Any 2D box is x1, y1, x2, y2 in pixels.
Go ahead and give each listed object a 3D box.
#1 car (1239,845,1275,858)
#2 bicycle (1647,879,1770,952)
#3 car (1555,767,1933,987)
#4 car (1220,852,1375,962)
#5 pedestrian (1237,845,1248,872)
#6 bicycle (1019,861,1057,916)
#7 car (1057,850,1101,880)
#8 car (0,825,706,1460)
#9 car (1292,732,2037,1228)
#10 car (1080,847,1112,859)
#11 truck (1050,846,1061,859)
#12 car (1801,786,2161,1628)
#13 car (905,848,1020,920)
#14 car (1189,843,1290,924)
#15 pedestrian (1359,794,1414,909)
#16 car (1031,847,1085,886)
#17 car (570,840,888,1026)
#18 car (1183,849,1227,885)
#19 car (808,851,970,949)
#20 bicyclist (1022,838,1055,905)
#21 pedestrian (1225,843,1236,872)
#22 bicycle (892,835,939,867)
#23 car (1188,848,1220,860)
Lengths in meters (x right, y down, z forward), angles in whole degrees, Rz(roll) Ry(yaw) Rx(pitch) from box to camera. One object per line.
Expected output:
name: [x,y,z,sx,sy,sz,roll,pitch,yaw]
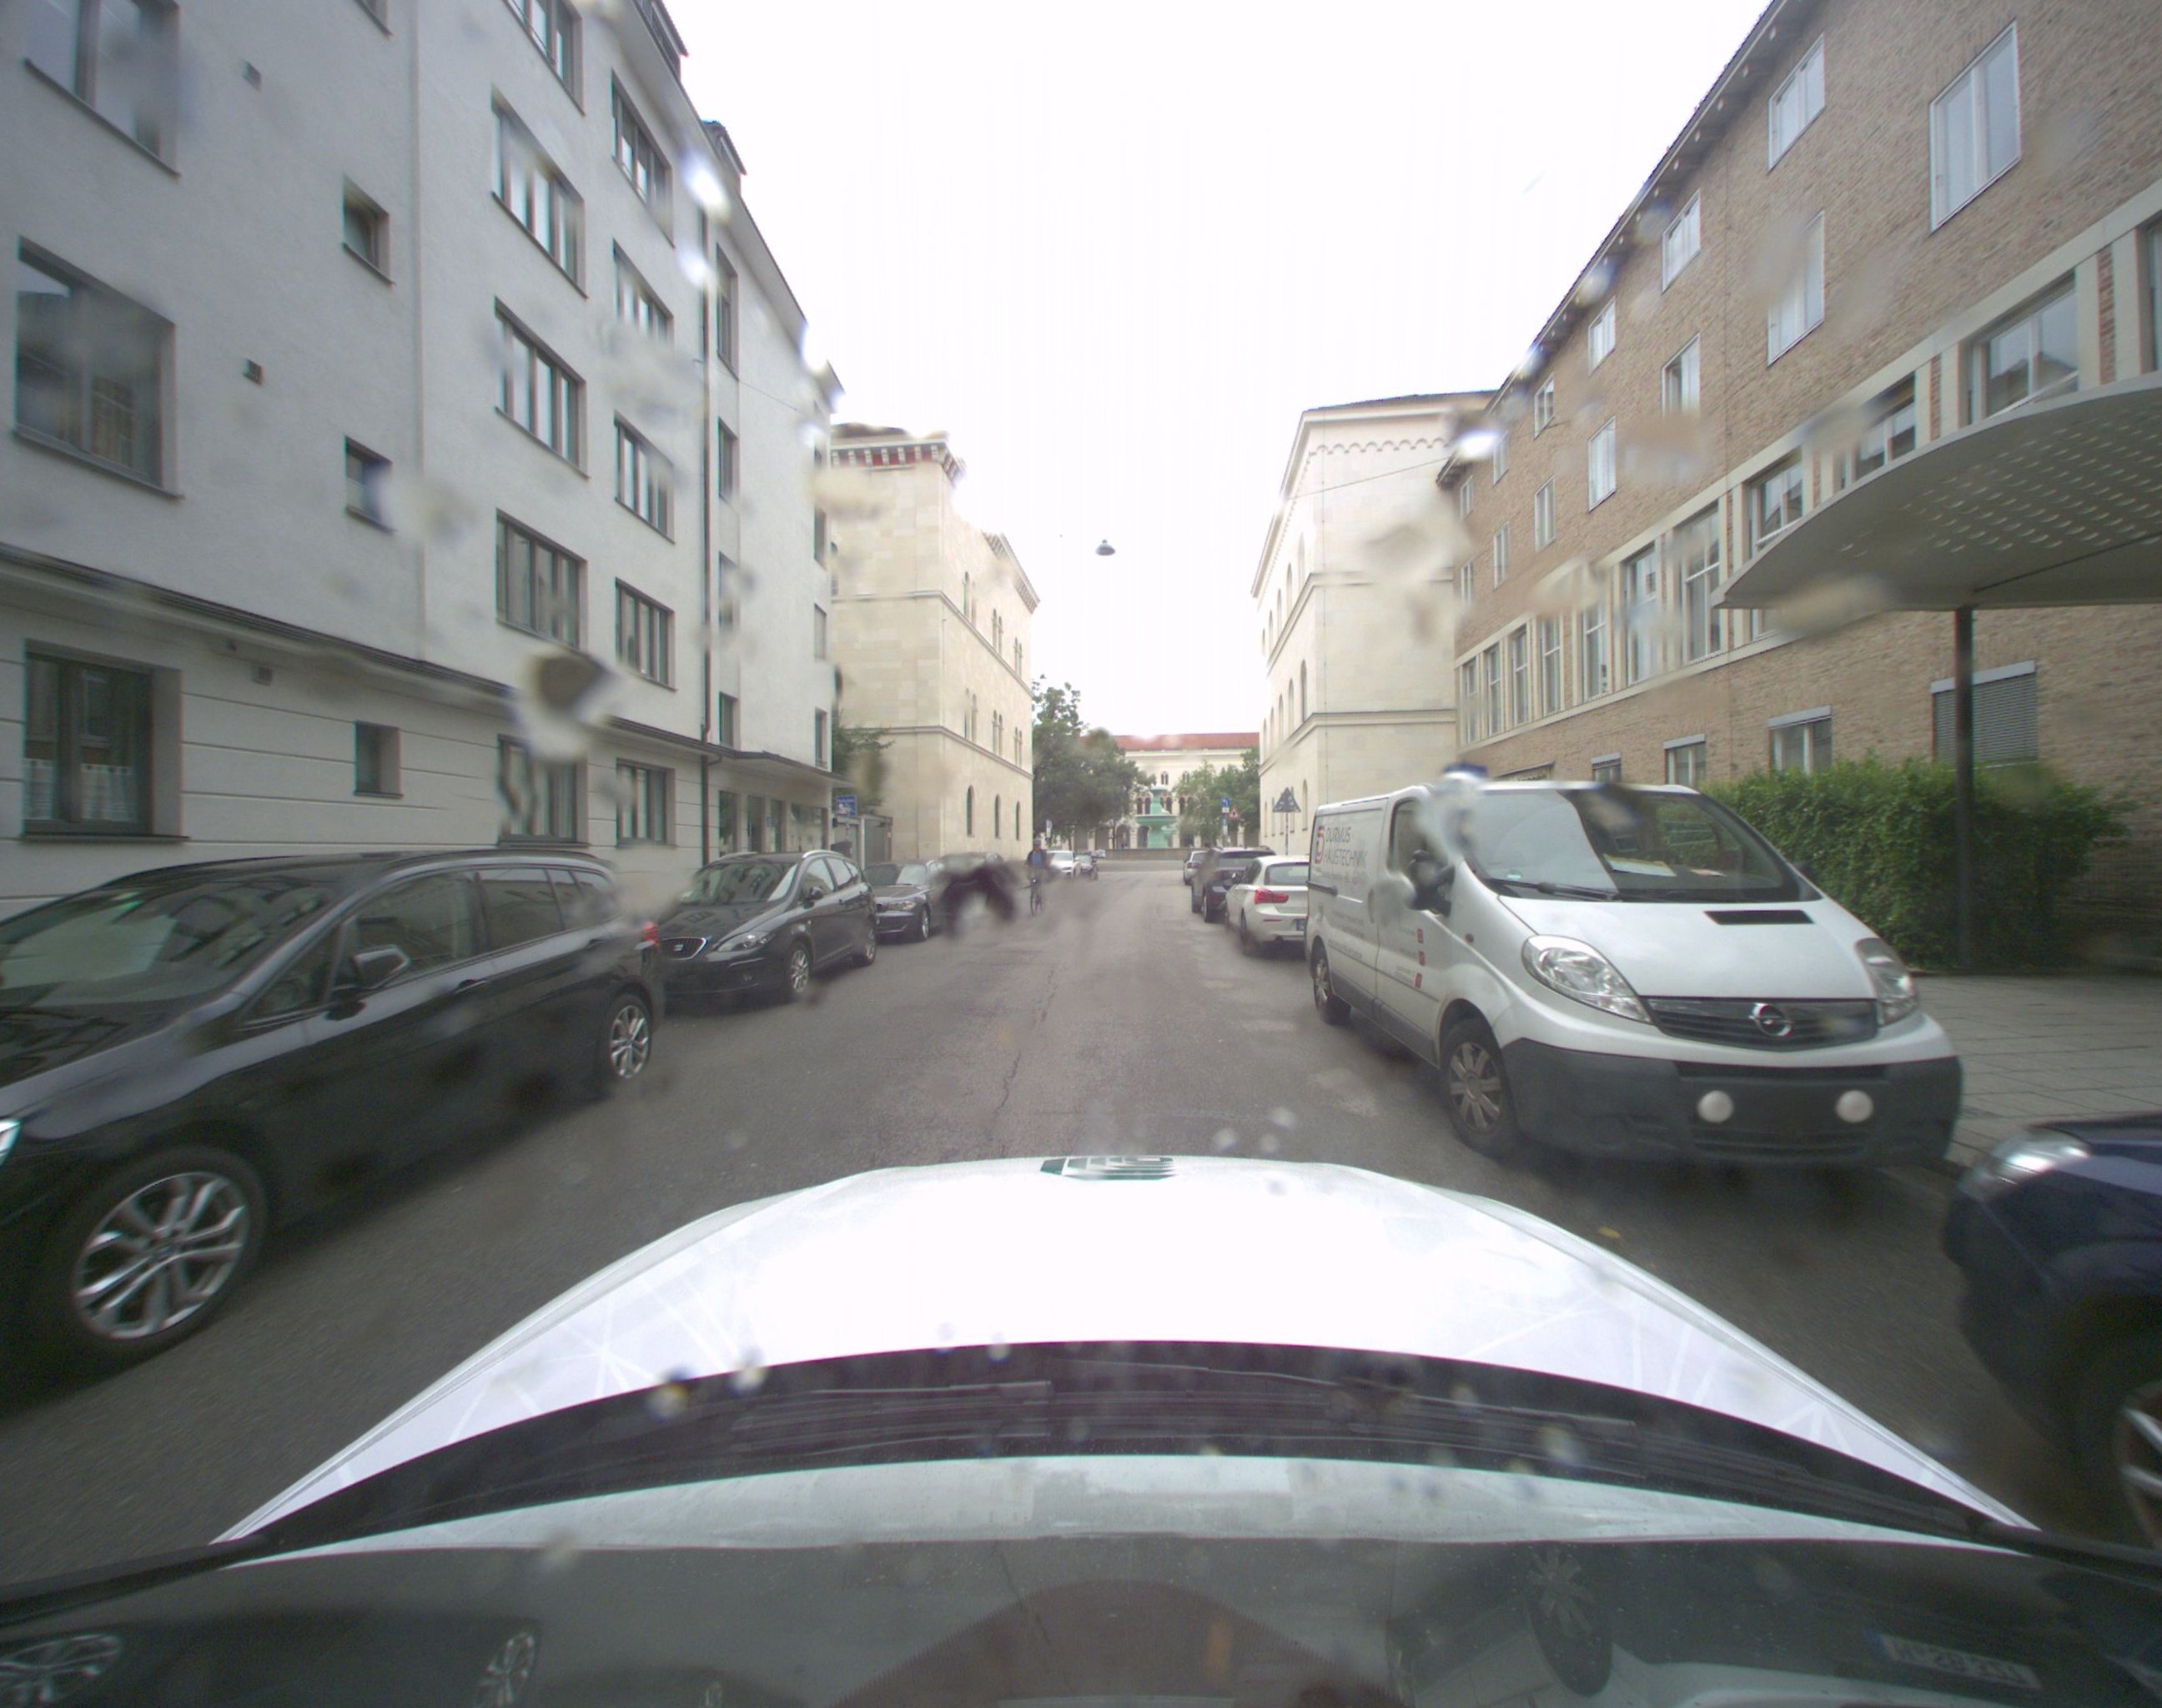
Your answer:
car: [22.075,-0.332,102.171,4.333,1.524,1.808,-1,0,7]
bicycle: [8.136,0.770,10.628,0.514,0.817,1.434,-1,1,1]
car: [7.020,0.188,9.096,1.657,2.013,3.259,0,1,2]
car: [3.213,0.690,12.878,1.665,1.417,4.207,0,1,5]
pedestrian: [9.984,0.270,50.356,0.618,1.681,0.545,0,0,0]
bicycle: [-1.006,0.799,19.524,0.646,1.197,1.952,-1,0,3]
car: [-0.044,0.551,41.335,1.689,1.393,4.219,-2,0,7]
car: [-3.837,0.752,4.027,1.867,1.658,4.588,-2,1,-2]
car: [2.902,0.472,5.628,1.874,1.924,4.879,-1,1,3]
car: [1.934,-0.124,104.138,3.968,1.376,2.003,-1,1,5]
truck: [-5.007,-0.324,159.895,1.990,2.488,3.994,0,1,-5]
car: [2.990,0.674,0.219,1.803,1.600,4.212,-1,1,-2]
car: [-2.775,0.648,20.005,1.741,1.453,4.023,-2,1,7]
car: [3.388,0.559,18.037,1.739,1.593,3.961,0,0,4]
pedestrian: [5.955,-0.055,15.908,0.790,2.197,0.814,0,1,0]
car: [-0.923,0.517,35.379,1.769,1.535,4.218,-2,0,5]
car: [-3.775,0.703,9.664,1.866,1.658,4.081,-2,1,1]
car: [5.356,0.506,35.467,1.780,1.476,4.322,0,0,7]
car: [-3.402,0.739,15.260,1.742,1.453,4.021,-2,1,4]
bicyclist: [-1.011,0.413,19.585,0.654,1.551,0.888,-1,0,4]
pedestrian: [9.200,0.212,50.121,0.637,1.808,0.490,-1,0,12]
bicycle: [-6.308,-0.115,31.069,1.699,1.178,0.478,-1,0,15]
car: [15.571,-0.014,102.823,3.964,1.403,1.829,-1,0,8]
